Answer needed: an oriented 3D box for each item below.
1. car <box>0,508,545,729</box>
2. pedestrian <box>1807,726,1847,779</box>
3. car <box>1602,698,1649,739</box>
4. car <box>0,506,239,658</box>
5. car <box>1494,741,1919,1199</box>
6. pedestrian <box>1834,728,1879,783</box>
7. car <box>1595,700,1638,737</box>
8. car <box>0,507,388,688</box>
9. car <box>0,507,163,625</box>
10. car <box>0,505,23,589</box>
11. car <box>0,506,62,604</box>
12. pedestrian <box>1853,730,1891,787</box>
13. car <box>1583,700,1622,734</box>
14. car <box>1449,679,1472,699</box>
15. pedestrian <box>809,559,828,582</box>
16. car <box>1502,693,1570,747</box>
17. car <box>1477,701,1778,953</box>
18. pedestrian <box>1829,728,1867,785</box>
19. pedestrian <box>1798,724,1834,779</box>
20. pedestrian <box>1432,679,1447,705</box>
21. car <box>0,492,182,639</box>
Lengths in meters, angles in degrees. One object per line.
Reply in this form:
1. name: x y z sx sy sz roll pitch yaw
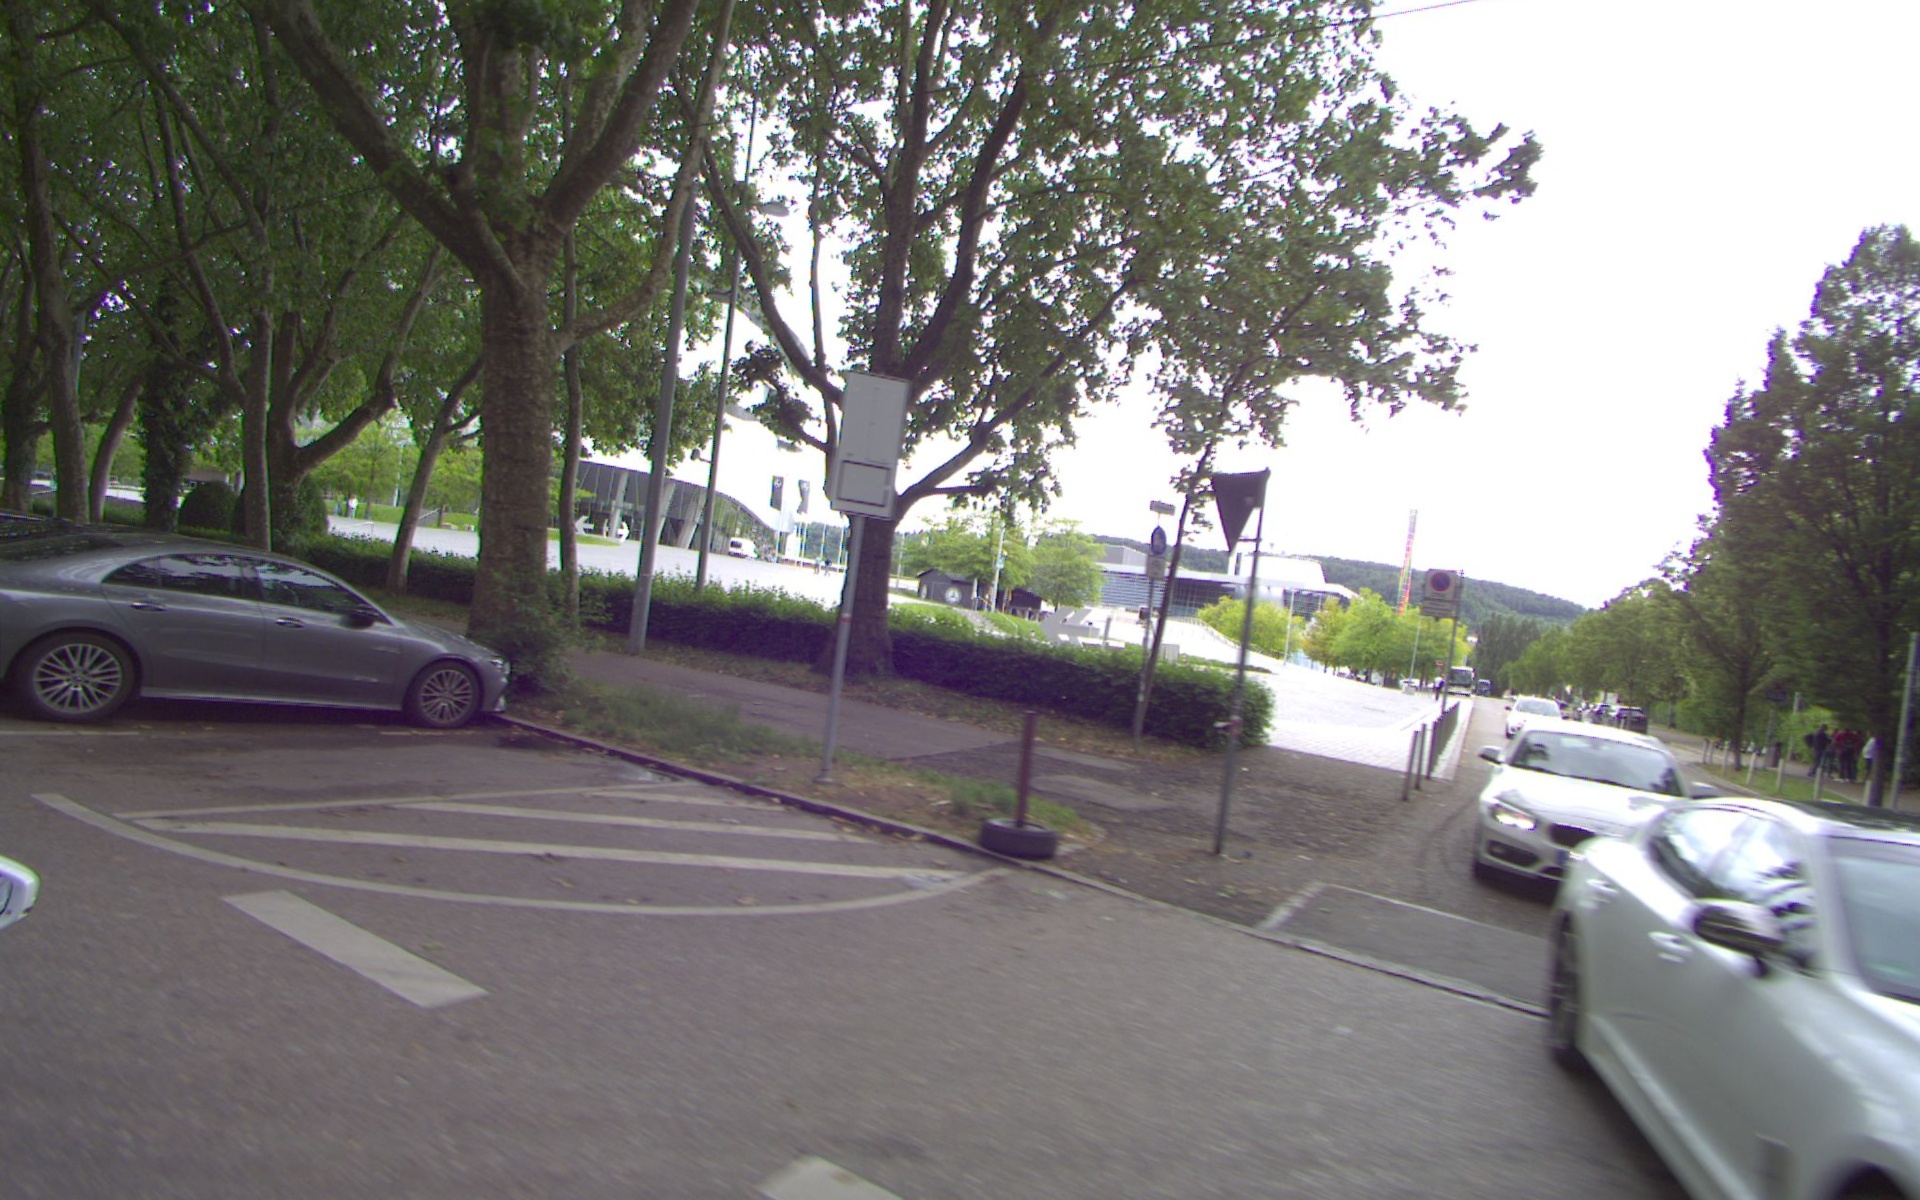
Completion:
1. car: -6.211 0.235 8.678 1.691 1.433 4.595 7 -2 34
2. pedestrian: 29.077 5.104 33.739 0.686 1.663 0.725 7 -1 24
3. car: 39.210 6.981 59.362 1.967 2.036 3.995 6 -2 31
4. car: -10.608 -0.305 11.113 1.690 1.433 3.839 7 -2 31
5. car: 3.218 1.391 3.072 1.963 1.399 4.684 7 -3 20
6. pedestrian: 29.643 5.137 33.262 0.713 1.663 0.697 7 -1 -13
7. car: 42.027 7.565 64.439 1.967 2.036 3.995 6 -2 31
8. car: -8.347 -0.013 10.122 1.877 1.433 4.031 8 -2 25
9. car: -14.251 -0.660 14.378 1.754 1.463 4.025 7 -3 31
10. car: -18.783 -1.253 16.757 1.754 1.472 4.209 8 -2 28
11. car: -16.598 -0.986 15.182 1.880 1.463 4.030 8 -2 25
12. pedestrian: 29.157 5.057 32.168 0.714 1.662 0.696 6 -1 37
13. car: 44.868 8.185 70.341 1.967 2.036 3.995 6 -2 31
14. car: 61.491 10.901 123.506 1.968 2.036 3.994 6 -2 33
15. pedestrian: -14.135 -2.950 100.474 1.094 2.038 1.159 6 -1 42
16. car: 19.861 4.092 34.816 1.754 1.479 4.285 7 -1 29
17. car: 5.997 1.853 9.487 1.754 1.479 4.285 7 -1 29
18. pedestrian: 28.120 4.946 31.867 0.688 1.663 0.723 6 -1 37
19. pedestrian: 28.048 4.954 32.954 0.714 1.663 0.696 6 -1 37
20. pedestrian: 31.624 6.068 66.379 0.686 1.663 0.725 7 -1 24
21. car: -12.663 -0.635 12.228 2.020 1.641 4.534 7 -2 31
